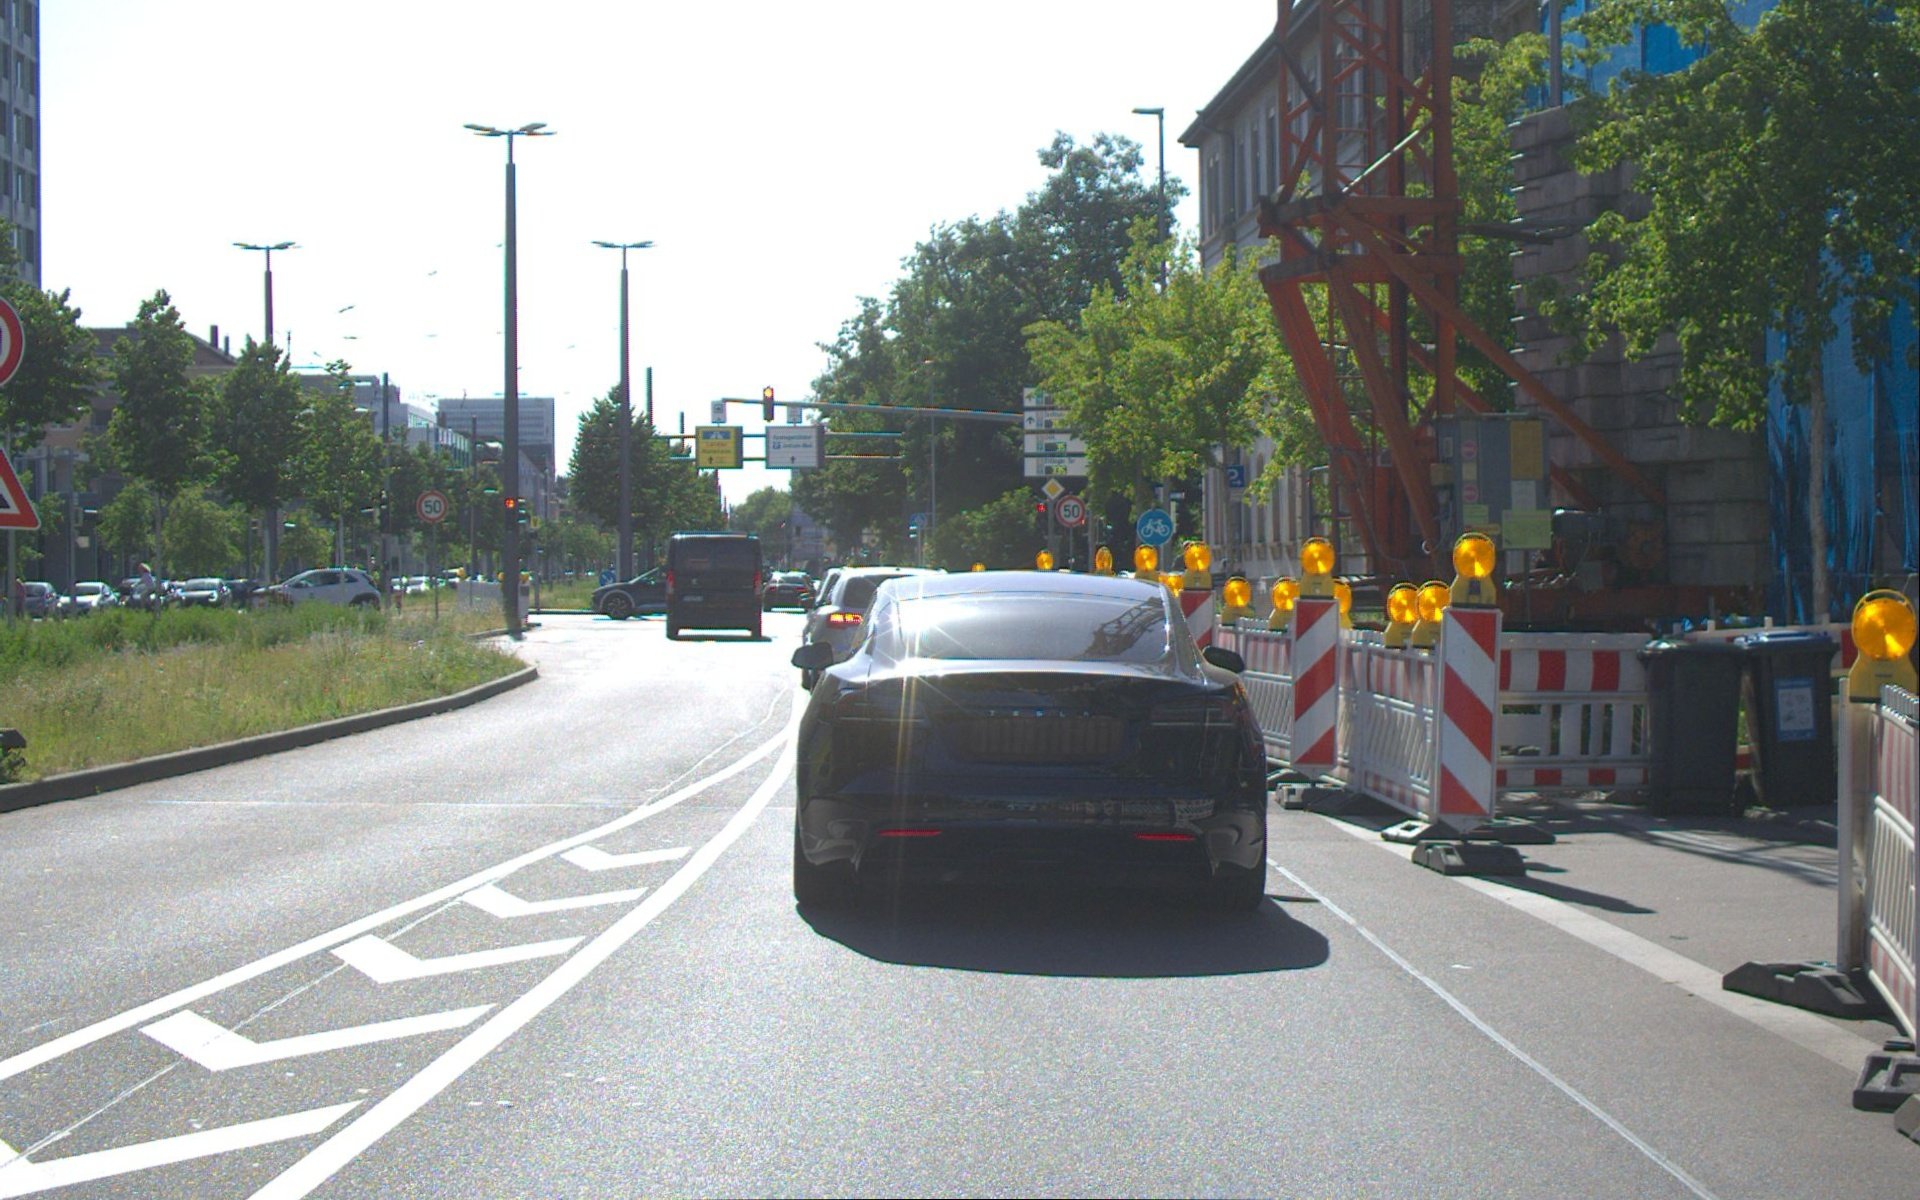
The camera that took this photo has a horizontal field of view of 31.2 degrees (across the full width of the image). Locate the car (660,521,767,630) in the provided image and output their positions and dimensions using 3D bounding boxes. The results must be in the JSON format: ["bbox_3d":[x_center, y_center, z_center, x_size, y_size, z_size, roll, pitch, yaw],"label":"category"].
[{"bbox_3d":[-5.298,-0.565,74.171,2.218,2.259,4.485,0,1,-4],"label":"car"}]

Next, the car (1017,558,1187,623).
[{"bbox_3d":[4.104,-0.271,98.886,4.515,1.786,1.999,-1,1,16],"label":"car"}]

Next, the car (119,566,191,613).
[{"bbox_3d":[-29.267,-0.408,125.054,1.790,1.645,4.000,-1,1,-2],"label":"car"}]

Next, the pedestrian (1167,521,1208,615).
[{"bbox_3d":[4.757,-0.673,71.826,0.658,1.906,0.587,-4,1,-3],"label":"pedestrian"}]

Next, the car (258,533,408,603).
[{"bbox_3d":[-17.849,-0.929,97.842,3.972,1.912,1.916,-1,1,-17],"label":"car"}]

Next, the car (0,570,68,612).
[{"bbox_3d":[-38.054,-0.383,141.365,1.790,1.645,4.000,-1,1,-2],"label":"car"}]

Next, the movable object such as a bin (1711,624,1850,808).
[{"bbox_3d":[5.068,0.707,21.264,0.595,1.054,0.730,-4,1,-2],"label":"movable object such as a bin"}]

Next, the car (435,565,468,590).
[{"bbox_3d":[-35.327,-1.571,238.894,1.808,1.645,4.000,-1,1,-2],"label":"car"}]

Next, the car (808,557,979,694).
[{"bbox_3d":[-0.804,0.236,38.512,1.747,1.422,4.839,0,1,-3],"label":"car"}]

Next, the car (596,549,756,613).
[{"bbox_3d":[-8.271,-0.566,100.328,4.512,1.786,2.000,-1,1,-2],"label":"car"}]

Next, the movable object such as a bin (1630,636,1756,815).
[{"bbox_3d":[4.480,0.757,21.043,0.587,1.054,0.730,0,1,-2],"label":"movable object such as a bin"}]

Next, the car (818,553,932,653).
[{"bbox_3d":[-1.374,0.024,54.898,1.749,1.522,4.005,0,1,-2],"label":"car"}]

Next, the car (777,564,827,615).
[{"bbox_3d":[-6.024,-0.407,130.694,1.791,1.867,3.850,0,0,-4],"label":"car"}]

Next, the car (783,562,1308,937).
[{"bbox_3d":[0.222,0.565,15.781,2.051,1.439,4.525,1,1,-3],"label":"car"}]

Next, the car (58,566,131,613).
[{"bbox_3d":[-31.996,-0.409,127.216,1.790,1.645,4.000,-1,1,-2],"label":"car"}]

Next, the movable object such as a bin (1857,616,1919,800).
[{"bbox_3d":[5.991,0.646,21.142,0.587,1.054,0.783,-5,2,-7],"label":"movable object such as a bin"}]

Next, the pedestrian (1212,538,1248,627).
[{"bbox_3d":[5.657,-0.362,71.925,0.563,1.814,0.587,-4,1,-3],"label":"pedestrian"}]

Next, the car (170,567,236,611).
[{"bbox_3d":[-29.327,-0.438,133.273,1.790,1.645,4.000,-1,1,-2],"label":"car"}]
